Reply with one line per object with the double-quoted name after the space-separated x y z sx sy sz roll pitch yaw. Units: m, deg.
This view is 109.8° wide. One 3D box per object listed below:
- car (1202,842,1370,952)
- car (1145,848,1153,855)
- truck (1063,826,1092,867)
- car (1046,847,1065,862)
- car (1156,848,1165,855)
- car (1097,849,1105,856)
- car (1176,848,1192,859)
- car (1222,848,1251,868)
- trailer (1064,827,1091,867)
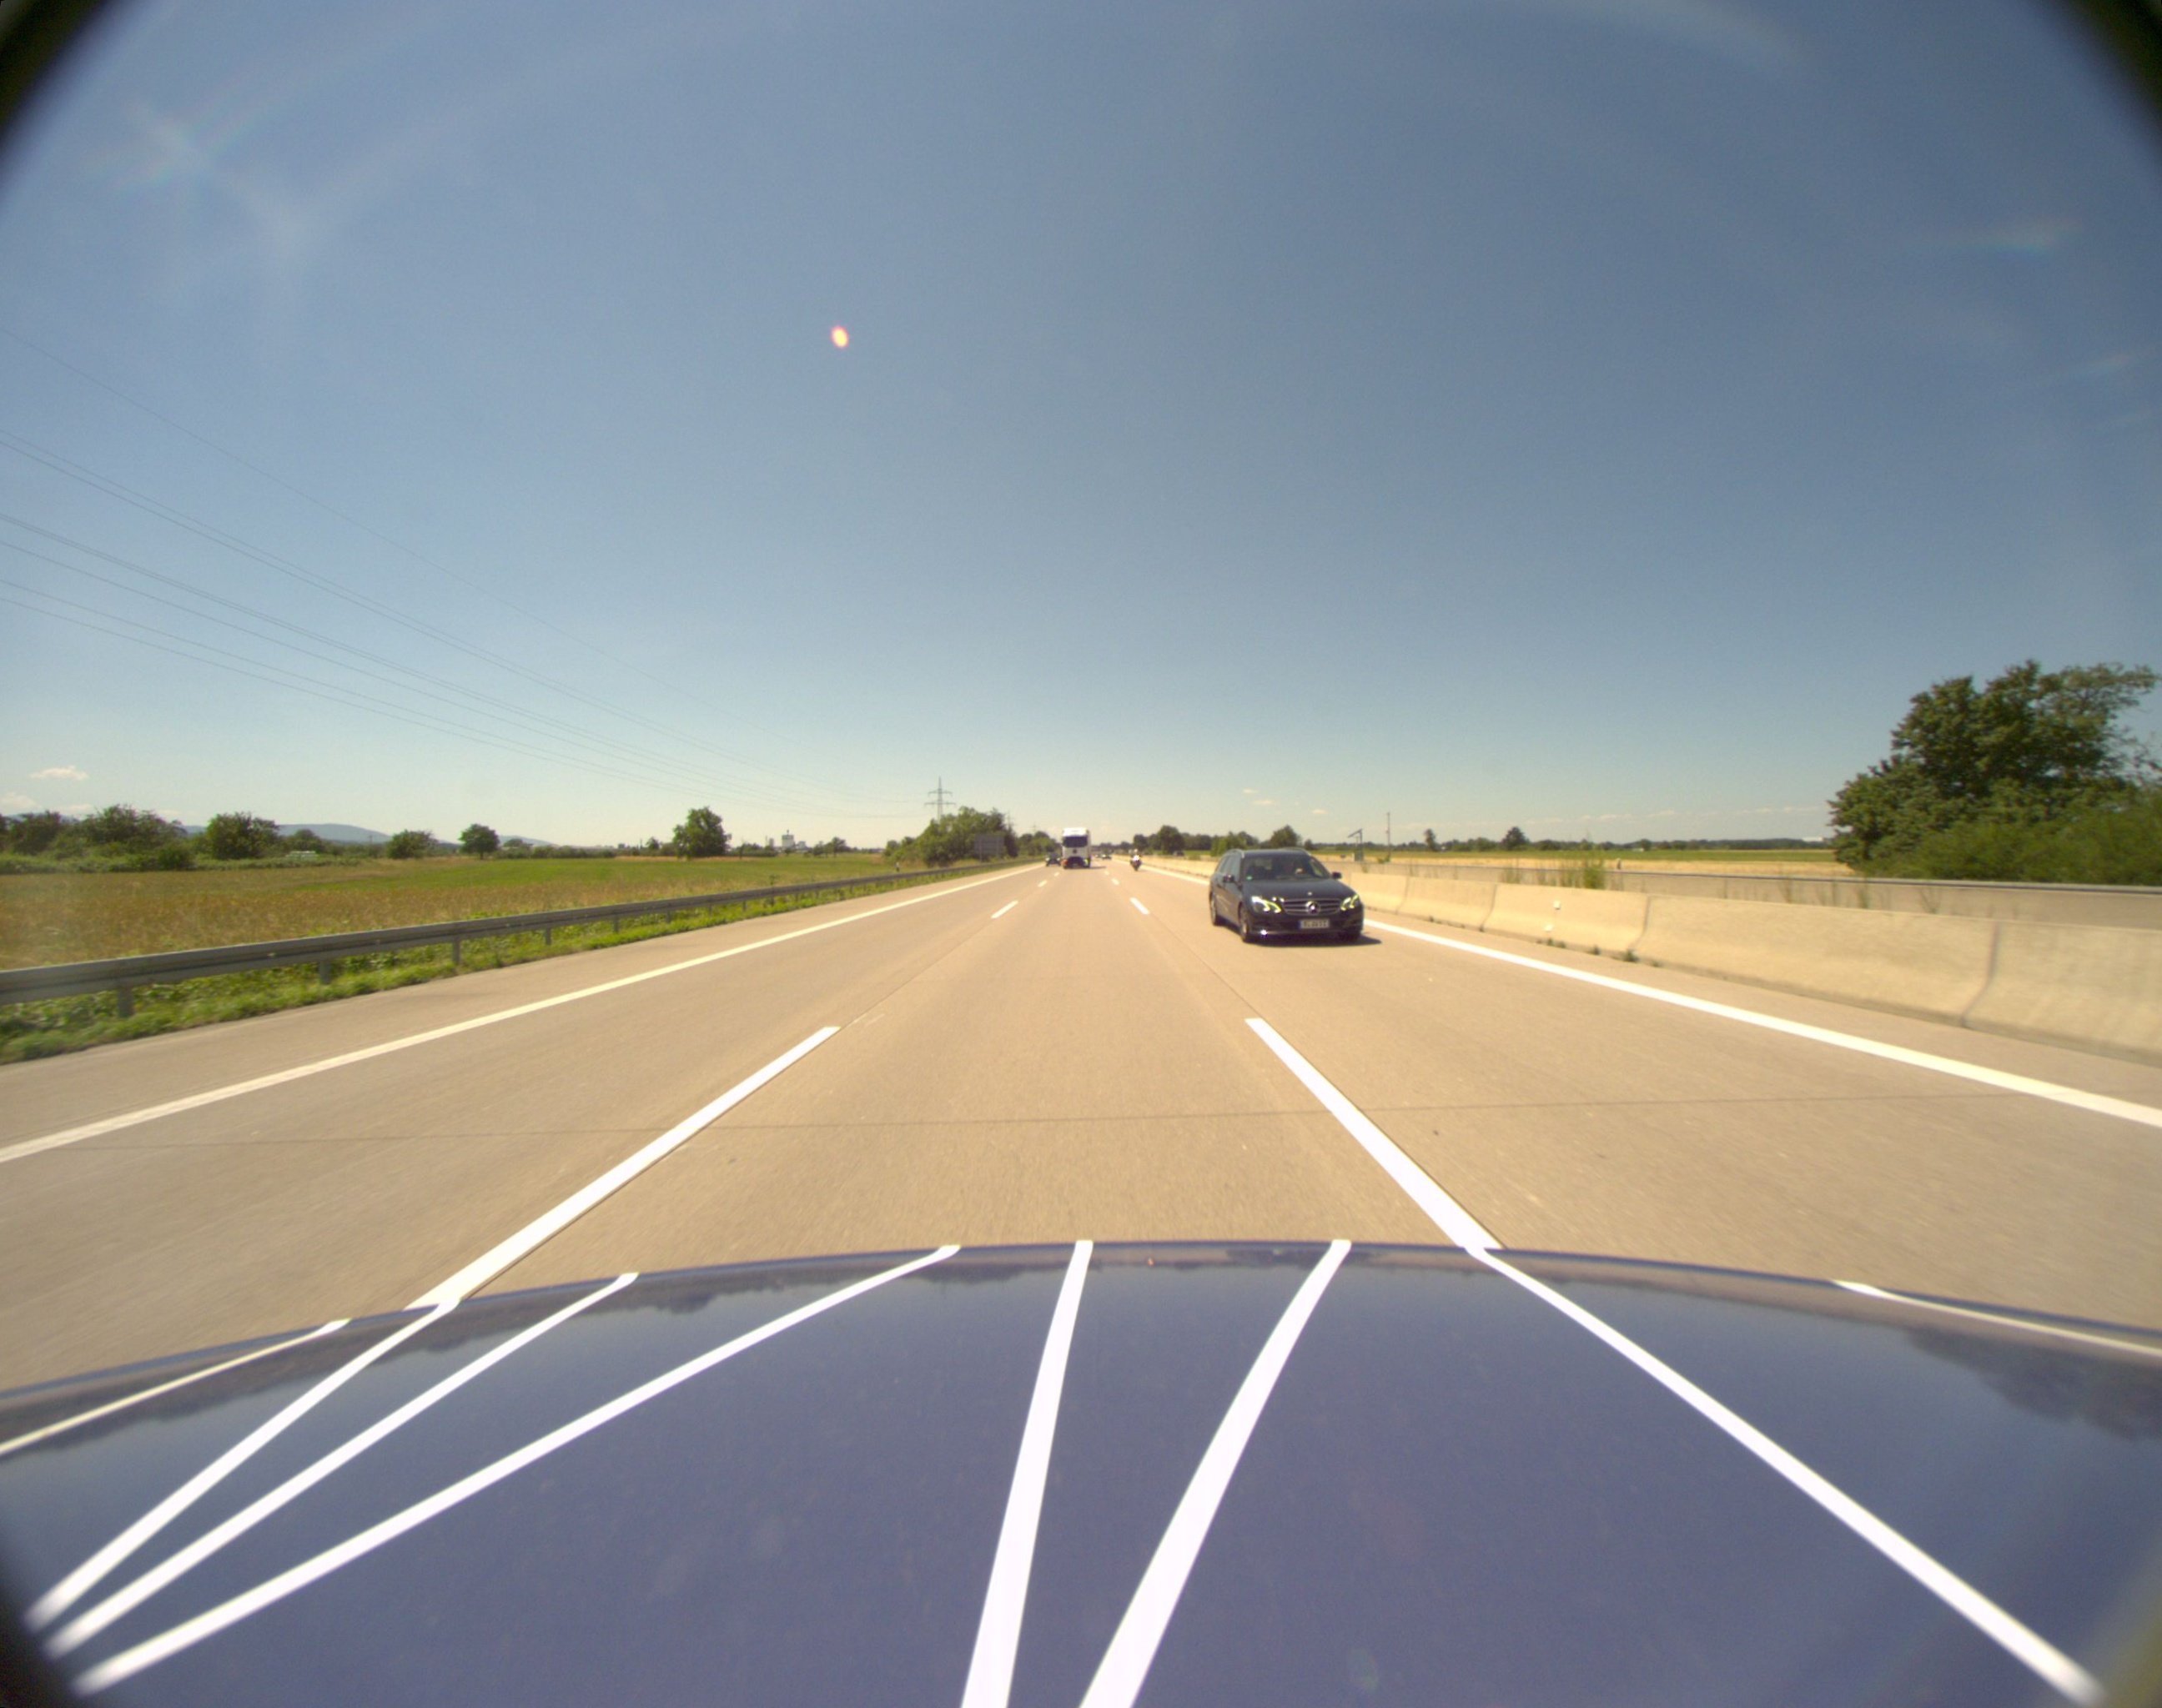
3.360 0.635 13.251 1.848 1.576 3.940 -2 0 1 "car"
19.404 -0.617 218.298 1.998 1.903 4.402 -2 0 2 "car"
-0.341 -0.709 74.779 2.587 3.855 4.983 -2 0 0 "truck"
-3.154 0.027 95.925 1.998 1.772 4.000 -2 0 3 "car"
21.134 -0.757 202.295 1.998 1.772 4.000 -2 0 0 "car"
5.748 -0.460 216.995 1.999 1.827 4.815 -2 0 -2 "car"
18.881 -0.140 139.377 1.999 1.827 4.815 -2 0 -2 "car"
16.052 0.390 78.677 1.998 1.871 4.692 -2 0 1 "car"
-0.350 -0.741 80.259 2.587 3.855 10.372 -2 0 0 "trailer"
